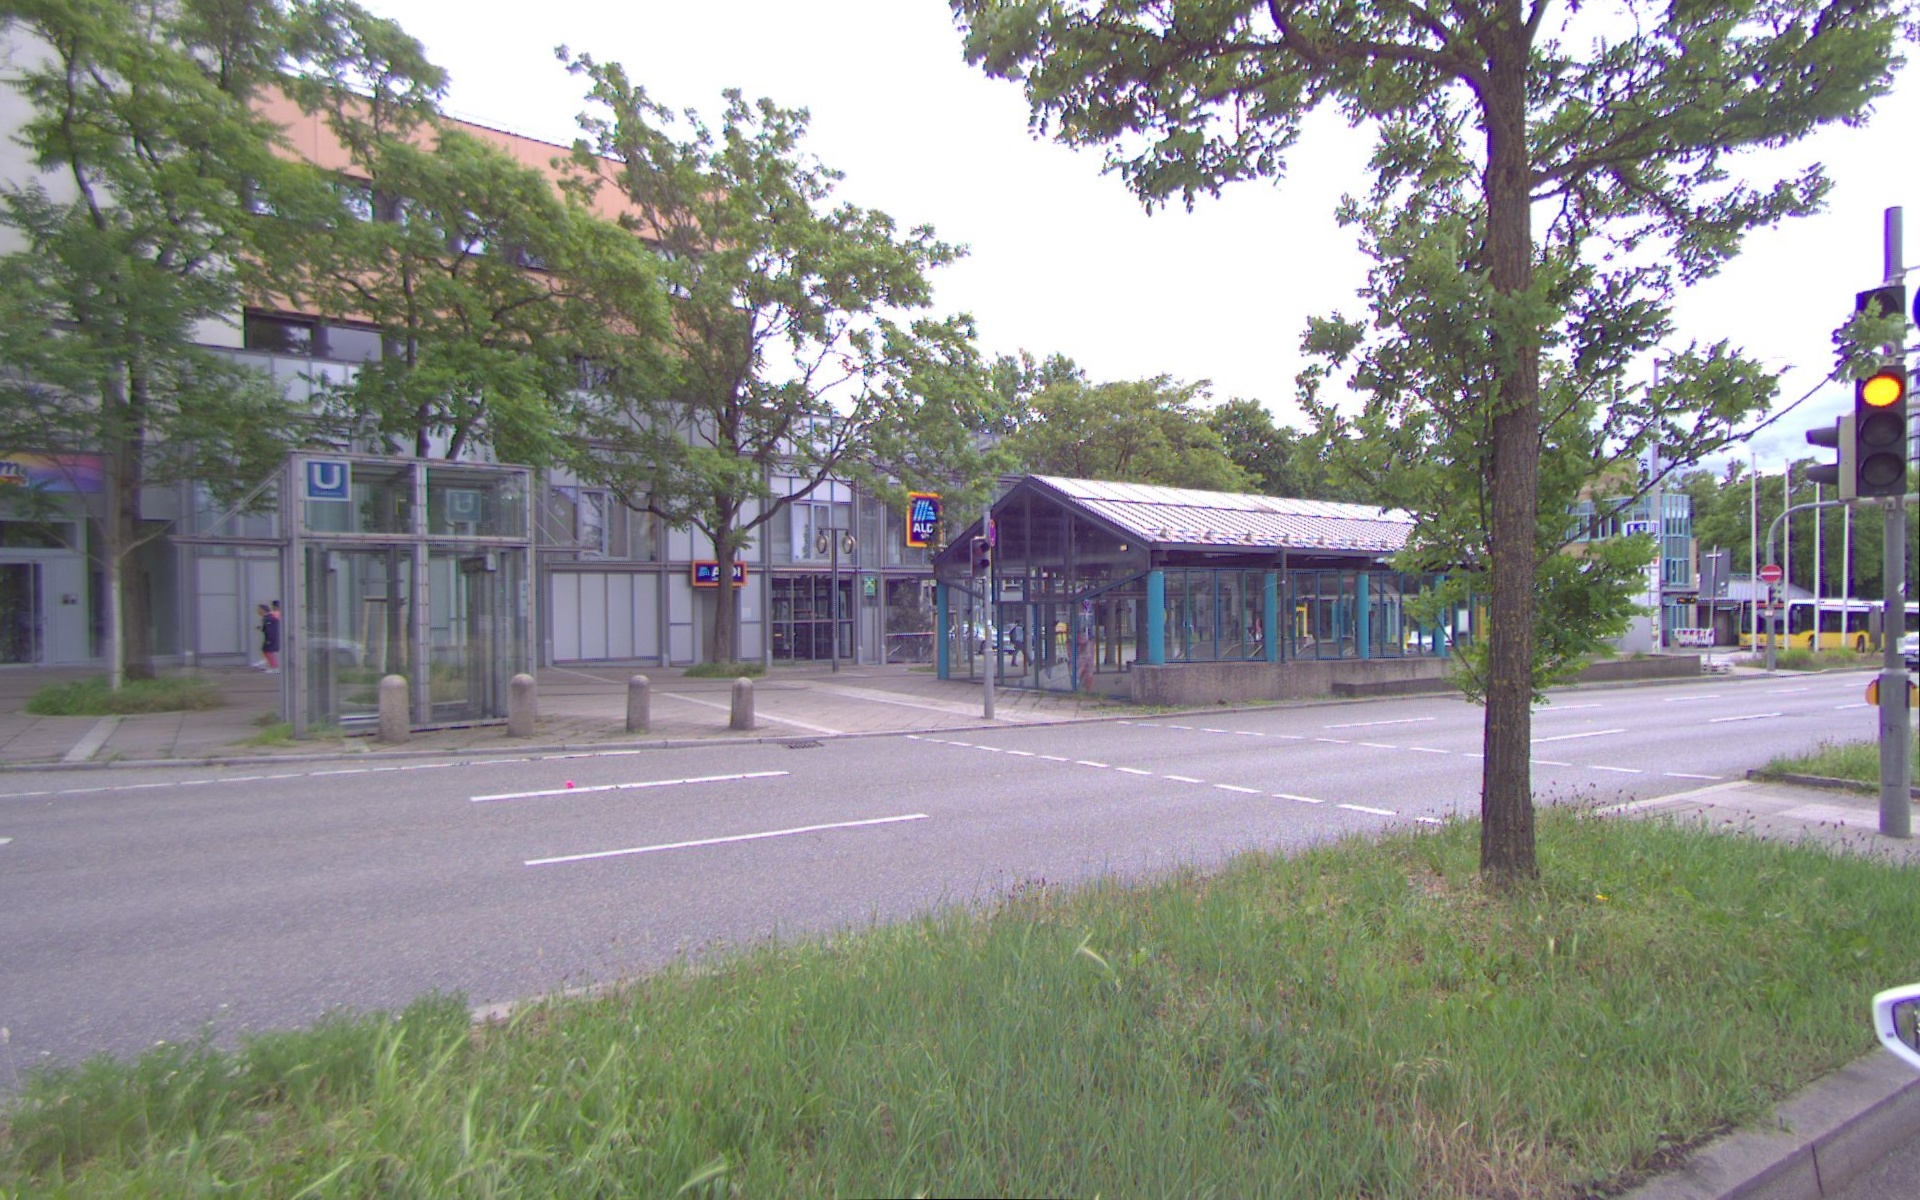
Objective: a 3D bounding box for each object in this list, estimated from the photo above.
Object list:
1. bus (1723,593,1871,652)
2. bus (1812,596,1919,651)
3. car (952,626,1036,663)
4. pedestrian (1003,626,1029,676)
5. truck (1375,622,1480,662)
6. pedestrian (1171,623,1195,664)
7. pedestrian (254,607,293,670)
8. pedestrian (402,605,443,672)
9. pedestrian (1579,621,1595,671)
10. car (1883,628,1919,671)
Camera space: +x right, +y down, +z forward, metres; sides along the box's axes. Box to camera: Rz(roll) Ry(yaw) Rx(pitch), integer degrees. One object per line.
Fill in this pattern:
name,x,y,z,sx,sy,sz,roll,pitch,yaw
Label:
bus,49.922,1.385,59.833,10.036,3.293,2.980,1,-1,-26
bus,57.919,1.547,63.773,7.771,3.313,2.980,1,-1,-26
car,1.650,2.195,50.381,1.769,1.710,4.838,1,-1,-33
pedestrian,1.890,1.713,34.058,0.703,1.677,0.517,1,-1,-37
truck,18.797,1.676,40.392,3.954,1.537,1.984,1,-1,-31
pedestrian,8.659,1.685,38.996,0.652,1.591,0.633,2,0,-22
pedestrian,-15.557,0.867,22.774,0.689,1.393,0.578,1,-1,-37
pedestrian,-12.396,0.880,23.151,0.748,1.499,0.525,1,-1,-36
pedestrian,20.605,1.513,33.010,0.412,1.612,0.356,0,-1,31
car,37.549,1.916,39.171,3.316,1.599,1.673,1,-1,-36
